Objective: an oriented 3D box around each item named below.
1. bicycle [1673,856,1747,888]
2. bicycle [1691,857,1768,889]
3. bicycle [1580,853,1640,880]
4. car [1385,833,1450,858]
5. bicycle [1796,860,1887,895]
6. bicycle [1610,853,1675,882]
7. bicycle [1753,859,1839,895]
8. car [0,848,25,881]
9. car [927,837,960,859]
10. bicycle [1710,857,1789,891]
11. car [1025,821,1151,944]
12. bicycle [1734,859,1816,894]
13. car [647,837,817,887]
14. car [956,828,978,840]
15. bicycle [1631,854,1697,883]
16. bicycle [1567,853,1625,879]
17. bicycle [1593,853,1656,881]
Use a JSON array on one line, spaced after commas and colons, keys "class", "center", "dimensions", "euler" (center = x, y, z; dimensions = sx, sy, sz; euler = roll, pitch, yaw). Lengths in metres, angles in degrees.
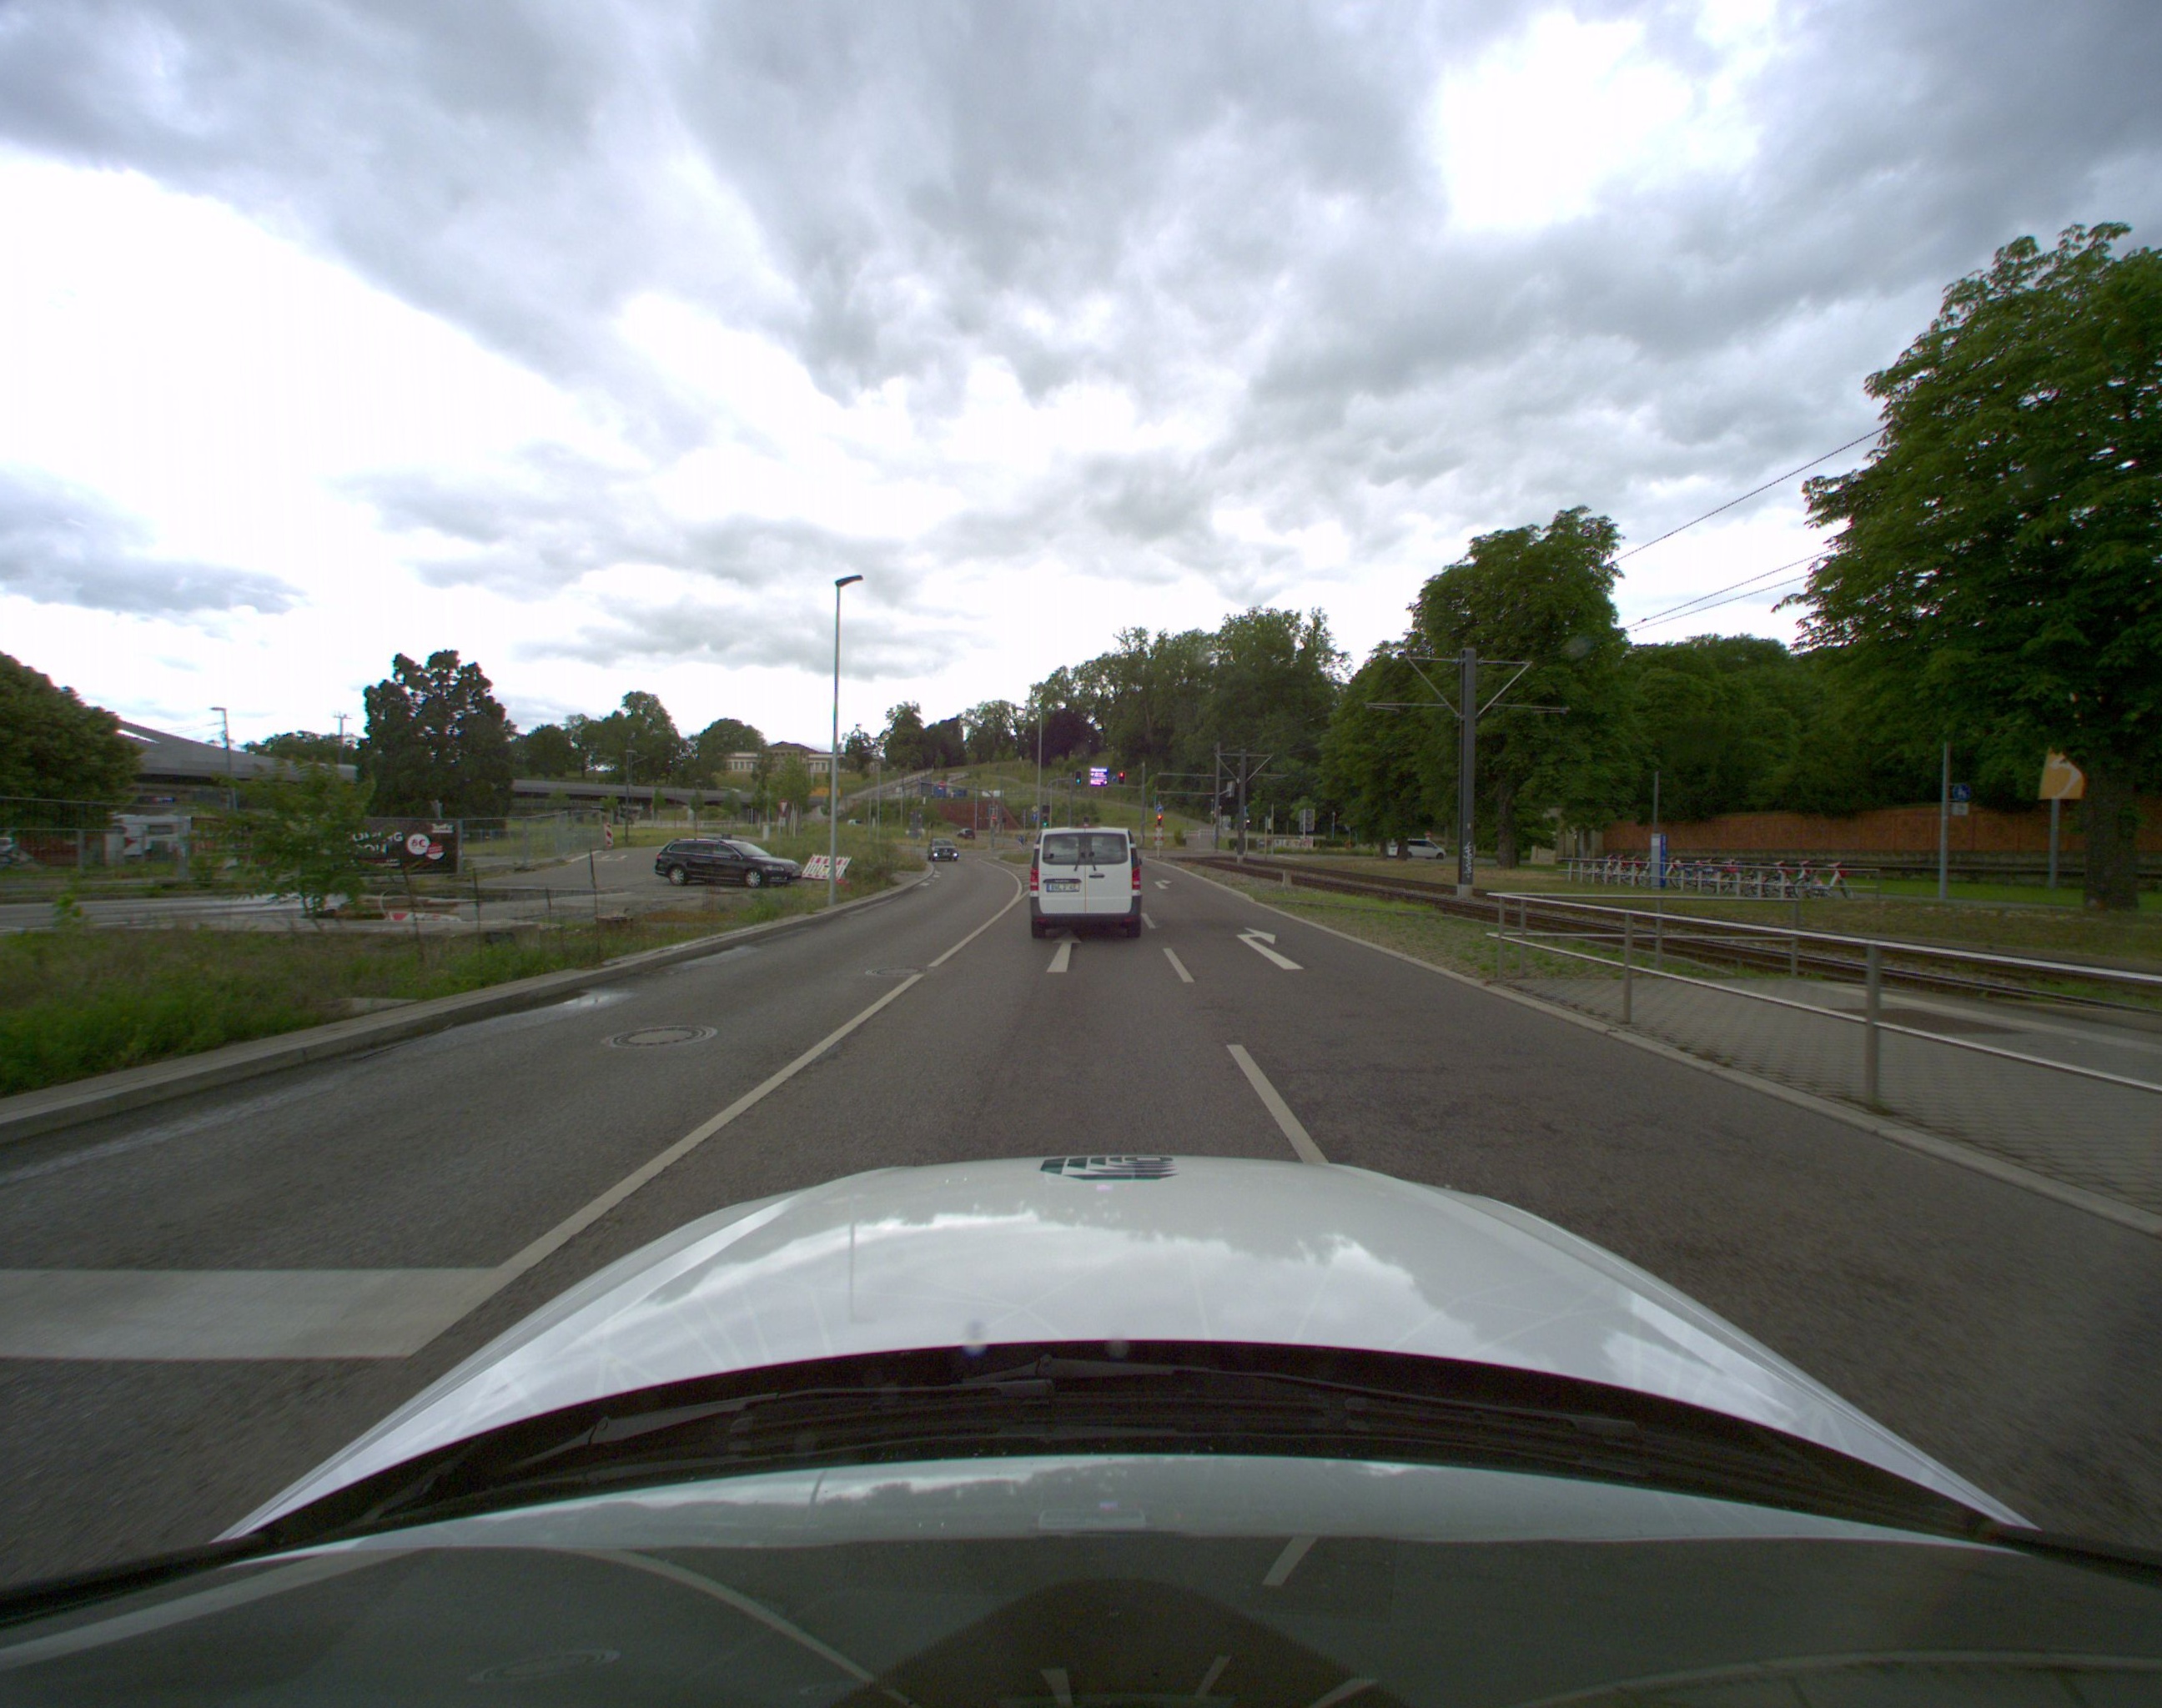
[{"class": "bicycle", "center": [19.948, 0.560, 25.842], "dimensions": [1.905, 0.975, 0.531], "euler": [0, 1, 1]}, {"class": "bicycle", "center": [19.945, 0.577, 25.060], "dimensions": [1.905, 0.975, 0.531], "euler": [0, 1, 1]}, {"class": "bicycle", "center": [19.857, 0.468, 30.604], "dimensions": [1.905, 0.975, 0.531], "euler": [0, 1, 1]}, {"class": "car", "center": [30.825, -0.790, 74.637], "dimensions": [5.131, 2.013, 2.202], "euler": [2, 0, -8]}, {"class": "bicycle", "center": [20.177, 0.628, 21.616], "dimensions": [1.905, 0.895, 0.531], "euler": [0, 1, 1]}, {"class": "bicycle", "center": [19.913, 0.474, 28.895], "dimensions": [1.905, 0.975, 0.531], "euler": [0, 1, 1]}, {"class": "bicycle", "center": [19.945, 0.645, 22.732], "dimensions": [1.905, 0.975, 0.531], "euler": [0, 1, 1]}, {"class": "car", "center": [-44.126, 0.414, 31.763], "dimensions": [1.582, 1.291, 3.530], "euler": [1, 1, 40]}, {"class": "car", "center": [-9.691, -0.480, 57.256], "dimensions": [1.882, 1.477, 3.980], "euler": [0, 1, -15]}, {"class": "bicycle", "center": [19.963, 0.581, 24.319], "dimensions": [1.905, 0.975, 0.531], "euler": [0, 1, 1]}, {"class": "car", "center": [0.023, 0.407, 15.114], "dimensions": [1.954, 1.903, 4.458], "euler": [2, 1, -3]}, {"class": "bicycle", "center": [19.908, 0.637, 23.380], "dimensions": [1.905, 0.975, 0.531], "euler": [0, 1, 1]}, {"class": "car", "center": [-11.210, 0.227, 26.263], "dimensions": [4.679, 1.477, 2.006], "euler": [1, 2, 11]}, {"class": "car", "center": [-16.158, -2.853, 115.173], "dimensions": [1.946, 1.627, 3.969], "euler": [2, 1, -24]}, {"class": "bicycle", "center": [20.087, 0.481, 28.078], "dimensions": [1.905, 0.975, 0.531], "euler": [0, 1, 1]}, {"class": "bicycle", "center": [19.921, 0.464, 31.529], "dimensions": [1.905, 0.975, 0.531], "euler": [0, 1, 1]}, {"class": "bicycle", "center": [19.759, 0.471, 29.624], "dimensions": [1.905, 0.975, 0.531], "euler": [0, 1, 1]}]
